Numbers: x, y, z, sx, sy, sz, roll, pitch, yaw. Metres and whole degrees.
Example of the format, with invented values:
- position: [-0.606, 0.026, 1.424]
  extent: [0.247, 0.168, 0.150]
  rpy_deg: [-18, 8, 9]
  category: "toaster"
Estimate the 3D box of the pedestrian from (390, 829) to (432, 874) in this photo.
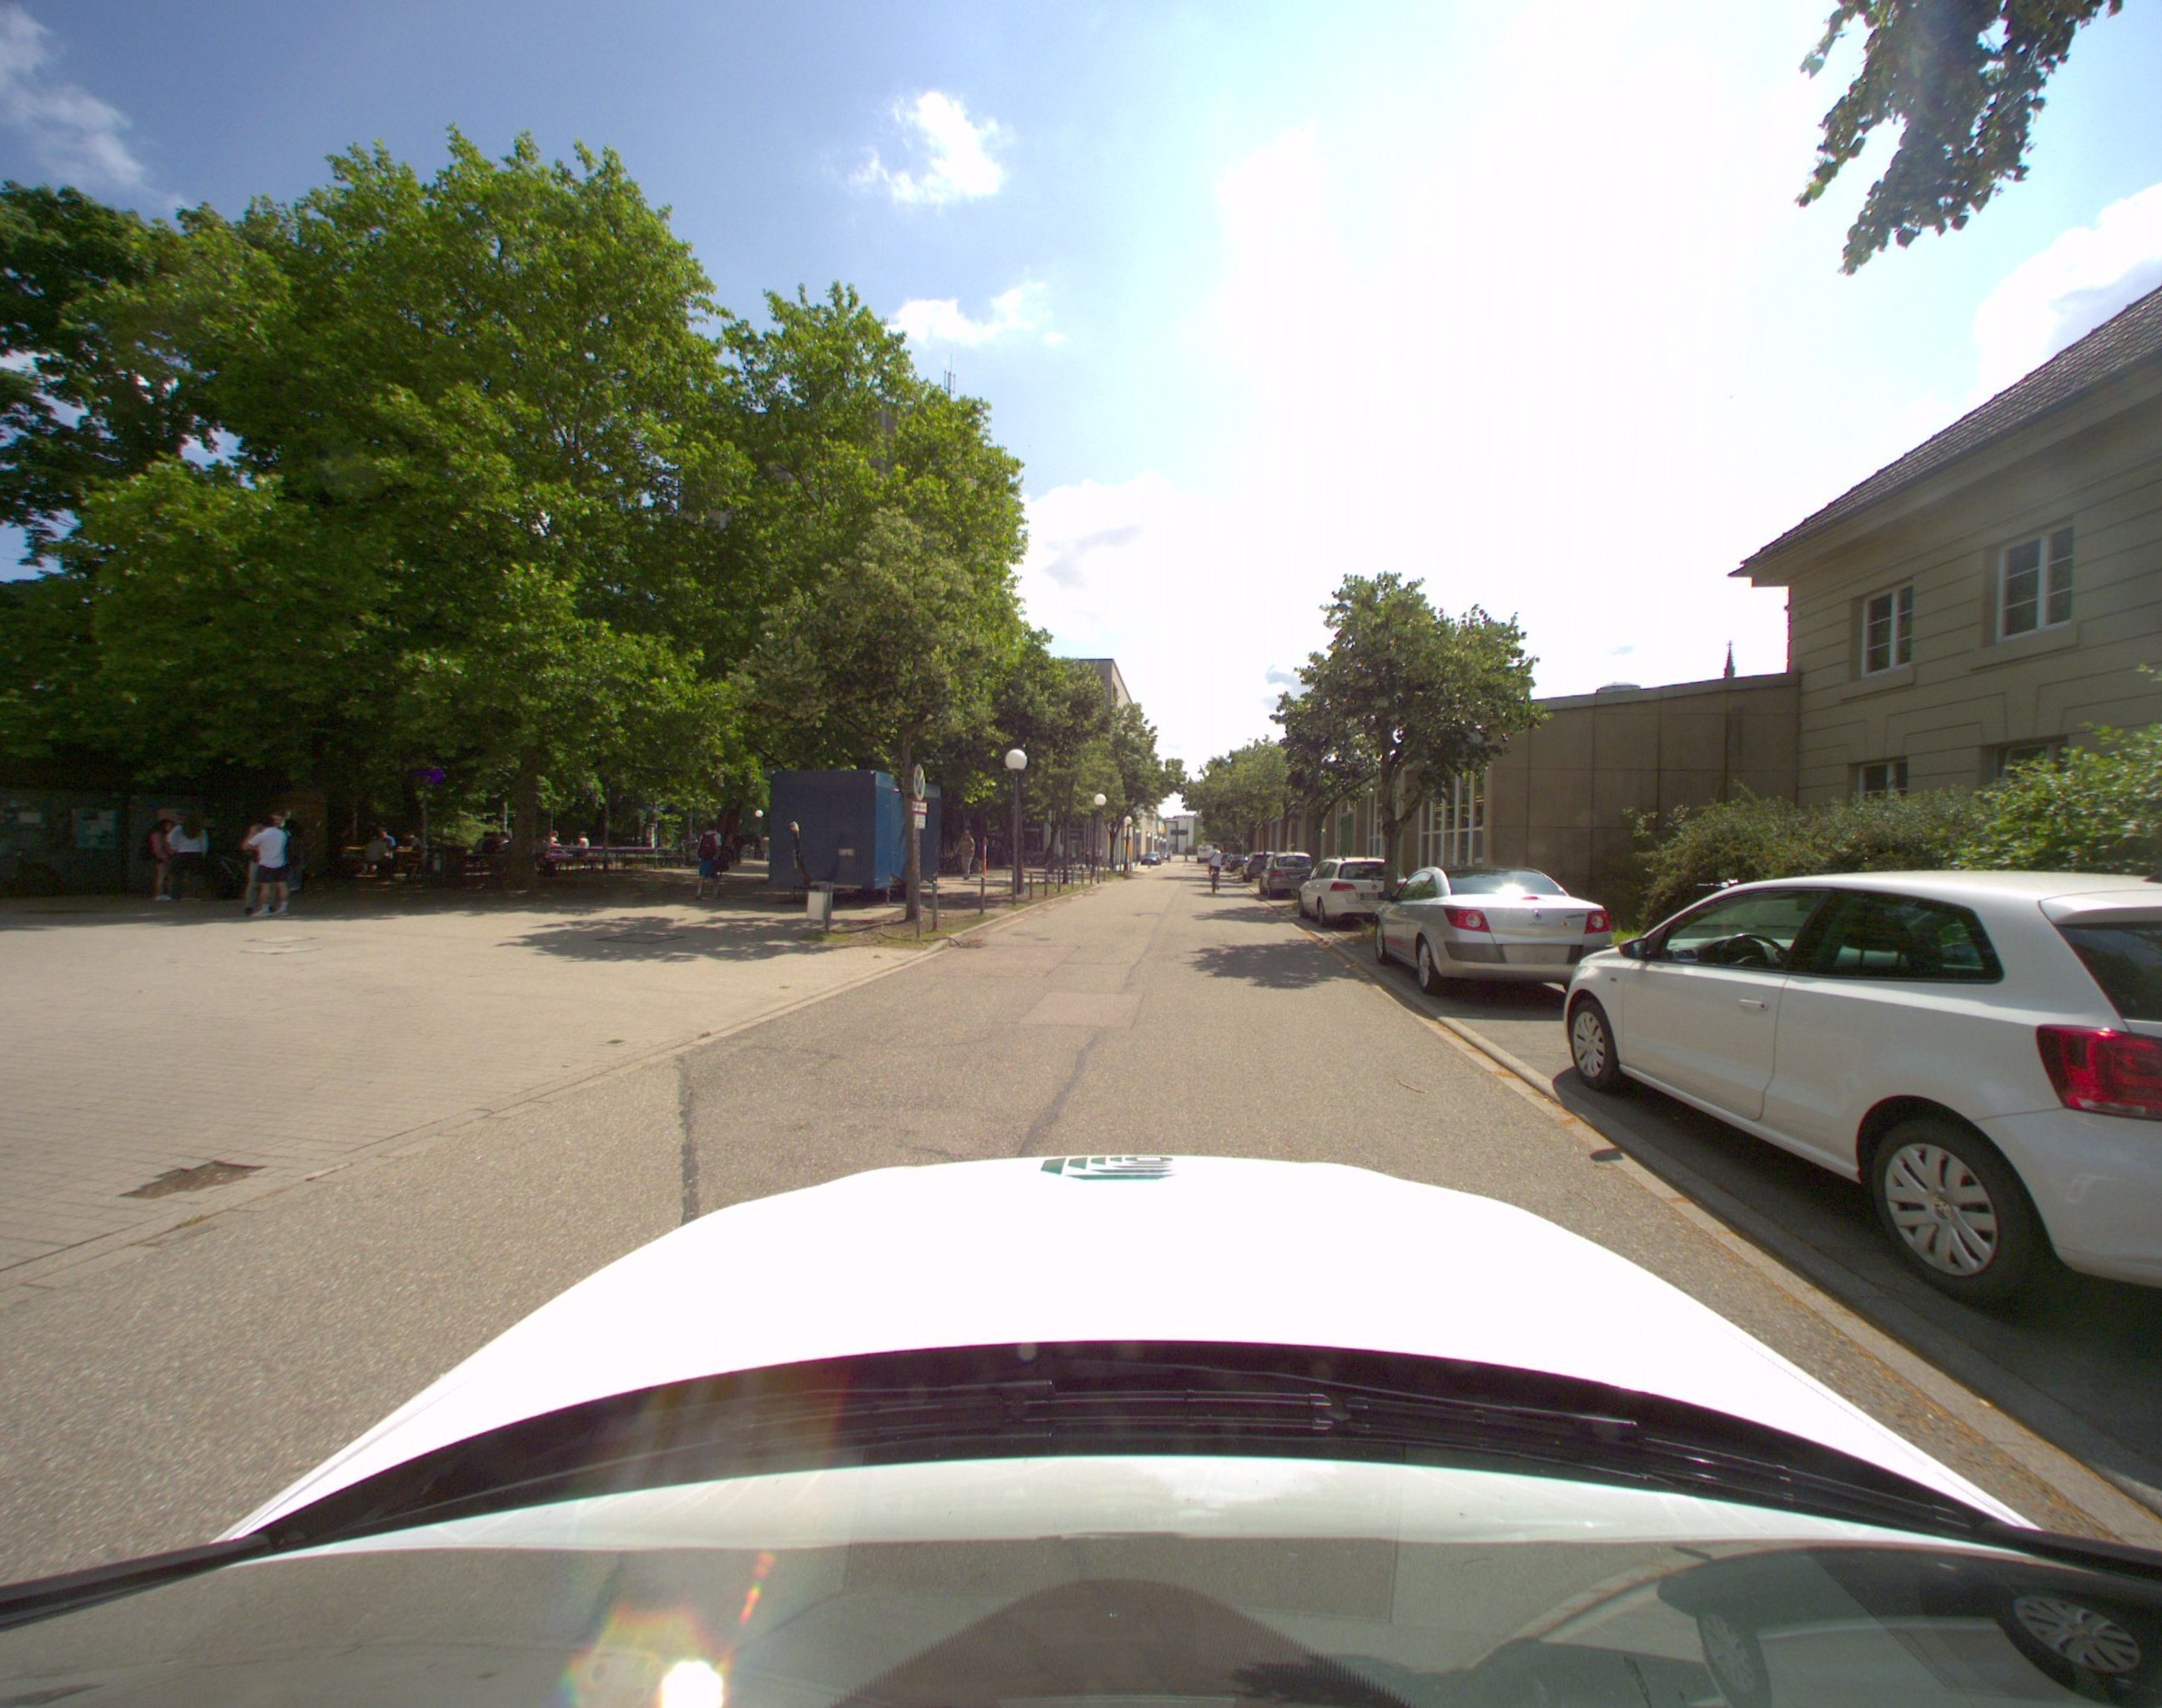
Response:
- position: [-19.540, -0.075, 23.750]
  extent: [0.557, 1.271, 0.695]
  rpy_deg: [2, 0, 9]
  category: "pedestrian"

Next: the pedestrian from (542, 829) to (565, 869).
- position: [-20.851, -0.202, 32.197]
  extent: [0.504, 1.522, 0.473]
  rpy_deg: [2, 0, -3]
  category: "pedestrian"

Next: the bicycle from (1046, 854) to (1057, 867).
- position: [-2.456, 0.534, 67.510]
  extent: [0.549, 1.086, 1.977]
  rpy_deg: [3, 0, 8]
  category: "bicycle"

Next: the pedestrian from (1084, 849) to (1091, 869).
- position: [0.563, 0.453, 75.219]
  extent: [0.443, 1.775, 0.448]
  rpy_deg: [2, 0, -22]
  category: "pedestrian"

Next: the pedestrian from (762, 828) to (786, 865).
- position: [-16.729, -0.409, 44.396]
  extent: [0.827, 1.948, 0.842]
  rpy_deg: [4, 0, -45]
  category: "pedestrian"

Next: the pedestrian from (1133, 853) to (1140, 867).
- position: [6.727, 0.749, 99.298]
  extent: [0.648, 1.701, 0.888]
  rpy_deg: [2, 0, -3]
  category: "pedestrian"

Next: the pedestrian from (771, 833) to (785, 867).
- position: [-17.365, -0.226, 46.725]
  extent: [0.593, 1.904, 0.511]
  rpy_deg: [1, 0, -38]
  category: "pedestrian"

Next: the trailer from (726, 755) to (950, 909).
- position: [-5.474, -0.462, 19.697]
  extent: [2.681, 3.026, 6.280]
  rpy_deg: [3, 0, 8]
  category: "trailer"

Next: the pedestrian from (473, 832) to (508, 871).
- position: [-19.504, -0.085, 26.894]
  extent: [0.567, 1.250, 0.766]
  rpy_deg: [2, 0, -4]
  category: "pedestrian"

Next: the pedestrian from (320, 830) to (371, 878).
- position: [-20.678, -0.002, 22.913]
  extent: [0.683, 1.323, 0.780]
  rpy_deg: [1, 0, 9]
  category: "pedestrian"

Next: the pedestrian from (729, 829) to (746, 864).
- position: [-16.884, -0.359, 40.030]
  extent: [0.631, 1.670, 0.726]
  rpy_deg: [2, 0, -15]
  category: "pedestrian"

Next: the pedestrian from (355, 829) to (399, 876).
- position: [-19.693, -0.040, 22.786]
  extent: [0.557, 1.271, 0.695]
  rpy_deg: [2, 0, 9]
  category: "pedestrian"

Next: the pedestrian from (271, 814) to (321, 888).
- position: [-18.046, -0.076, 18.734]
  extent: [0.681, 1.651, 0.498]
  rpy_deg: [3, 1, -31]
  category: "pedestrian"

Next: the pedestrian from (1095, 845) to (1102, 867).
- position: [1.602, 0.165, 74.374]
  extent: [0.414, 1.941, 0.658]
  rpy_deg: [3, 0, -21]
  category: "pedestrian"

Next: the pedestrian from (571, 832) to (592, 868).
- position: [-19.812, -0.153, 32.287]
  extent: [0.504, 1.422, 0.460]
  rpy_deg: [2, 0, -2]
  category: "pedestrian"

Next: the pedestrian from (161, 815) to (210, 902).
- position: [-18.079, 0.086, 16.456]
  extent: [0.533, 1.710, 0.443]
  rpy_deg: [3, 1, -36]
  category: "pedestrian"

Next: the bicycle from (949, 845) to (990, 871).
- position: [-5.889, 0.198, 43.116]
  extent: [2.053, 1.234, 0.806]
  rpy_deg: [4, 0, -10]
  category: "bicycle"

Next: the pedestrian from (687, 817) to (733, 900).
- position: [-8.541, 0.098, 18.783]
  extent: [0.854, 1.835, 0.872]
  rpy_deg: [2, 2, -23]
  category: "pedestrian"

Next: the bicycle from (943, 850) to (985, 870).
- position: [-6.436, 0.334, 44.705]
  extent: [2.155, 1.008, 0.673]
  rpy_deg: [2, 0, -22]
  category: "bicycle"

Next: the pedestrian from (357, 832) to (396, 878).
- position: [-20.703, 0.031, 23.928]
  extent: [0.641, 1.323, 0.560]
  rpy_deg: [1, 0, 9]
  category: "pedestrian"

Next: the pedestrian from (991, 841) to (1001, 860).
- position: [-7.769, -0.327, 74.441]
  extent: [0.697, 1.661, 0.629]
  rpy_deg: [2, 0, -32]
  category: "pedestrian"

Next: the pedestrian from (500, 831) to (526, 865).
- position: [-20.411, -0.222, 29.288]
  extent: [0.390, 1.194, 0.730]
  rpy_deg: [2, 0, -1]
  category: "pedestrian"

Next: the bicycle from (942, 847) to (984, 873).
- position: [-6.102, 0.295, 42.120]
  extent: [2.053, 1.234, 0.806]
  rpy_deg: [3, 0, -10]
  category: "bicycle"

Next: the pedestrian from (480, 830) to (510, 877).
- position: [-17.717, -0.012, 24.620]
  extent: [0.596, 1.369, 0.698]
  rpy_deg: [2, 2, -26]
  category: "pedestrian"

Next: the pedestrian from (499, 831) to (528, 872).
- position: [-17.511, -0.079, 25.127]
  extent: [0.596, 1.233, 0.736]
  rpy_deg: [2, 2, -26]
  category: "pedestrian"

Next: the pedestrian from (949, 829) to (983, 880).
- position: [-4.644, 0.029, 32.912]
  extent: [0.910, 1.954, 0.896]
  rpy_deg: [4, 0, 18]
  category: "pedestrian"

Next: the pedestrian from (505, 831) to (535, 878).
- position: [-16.946, 0.006, 24.597]
  extent: [0.596, 1.369, 0.736]
  rpy_deg: [2, 2, -26]
  category: "pedestrian"

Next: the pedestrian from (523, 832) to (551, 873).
- position: [-16.932, -0.056, 25.363]
  extent: [0.596, 1.233, 0.736]
  rpy_deg: [2, 2, -26]
  category: "pedestrian"

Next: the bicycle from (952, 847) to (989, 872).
- position: [-5.534, 0.274, 40.660]
  extent: [1.773, 1.132, 0.457]
  rpy_deg: [2, 0, -10]
  category: "bicycle"

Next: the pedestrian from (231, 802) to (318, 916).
- position: [-13.435, 0.095, 13.584]
  extent: [0.443, 1.820, 0.886]
  rpy_deg: [0, -3, 36]
  category: "pedestrian"

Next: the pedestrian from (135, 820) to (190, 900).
- position: [-18.690, 0.130, 16.584]
  extent: [0.608, 1.593, 0.408]
  rpy_deg: [3, 1, -34]
  category: "pedestrian"

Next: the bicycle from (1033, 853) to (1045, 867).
- position: [-3.511, 0.519, 67.950]
  extent: [0.549, 1.086, 1.977]
  rpy_deg: [3, 0, 8]
  category: "bicycle"

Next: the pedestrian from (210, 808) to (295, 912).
- position: [-14.162, 0.119, 13.932]
  extent: [0.483, 1.720, 0.886]
  rpy_deg: [0, -3, 36]
  category: "pedestrian"

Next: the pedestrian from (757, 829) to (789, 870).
- position: [-15.520, -0.226, 40.998]
  extent: [1.131, 1.948, 0.881]
  rpy_deg: [4, 0, -45]
  category: "pedestrian"
